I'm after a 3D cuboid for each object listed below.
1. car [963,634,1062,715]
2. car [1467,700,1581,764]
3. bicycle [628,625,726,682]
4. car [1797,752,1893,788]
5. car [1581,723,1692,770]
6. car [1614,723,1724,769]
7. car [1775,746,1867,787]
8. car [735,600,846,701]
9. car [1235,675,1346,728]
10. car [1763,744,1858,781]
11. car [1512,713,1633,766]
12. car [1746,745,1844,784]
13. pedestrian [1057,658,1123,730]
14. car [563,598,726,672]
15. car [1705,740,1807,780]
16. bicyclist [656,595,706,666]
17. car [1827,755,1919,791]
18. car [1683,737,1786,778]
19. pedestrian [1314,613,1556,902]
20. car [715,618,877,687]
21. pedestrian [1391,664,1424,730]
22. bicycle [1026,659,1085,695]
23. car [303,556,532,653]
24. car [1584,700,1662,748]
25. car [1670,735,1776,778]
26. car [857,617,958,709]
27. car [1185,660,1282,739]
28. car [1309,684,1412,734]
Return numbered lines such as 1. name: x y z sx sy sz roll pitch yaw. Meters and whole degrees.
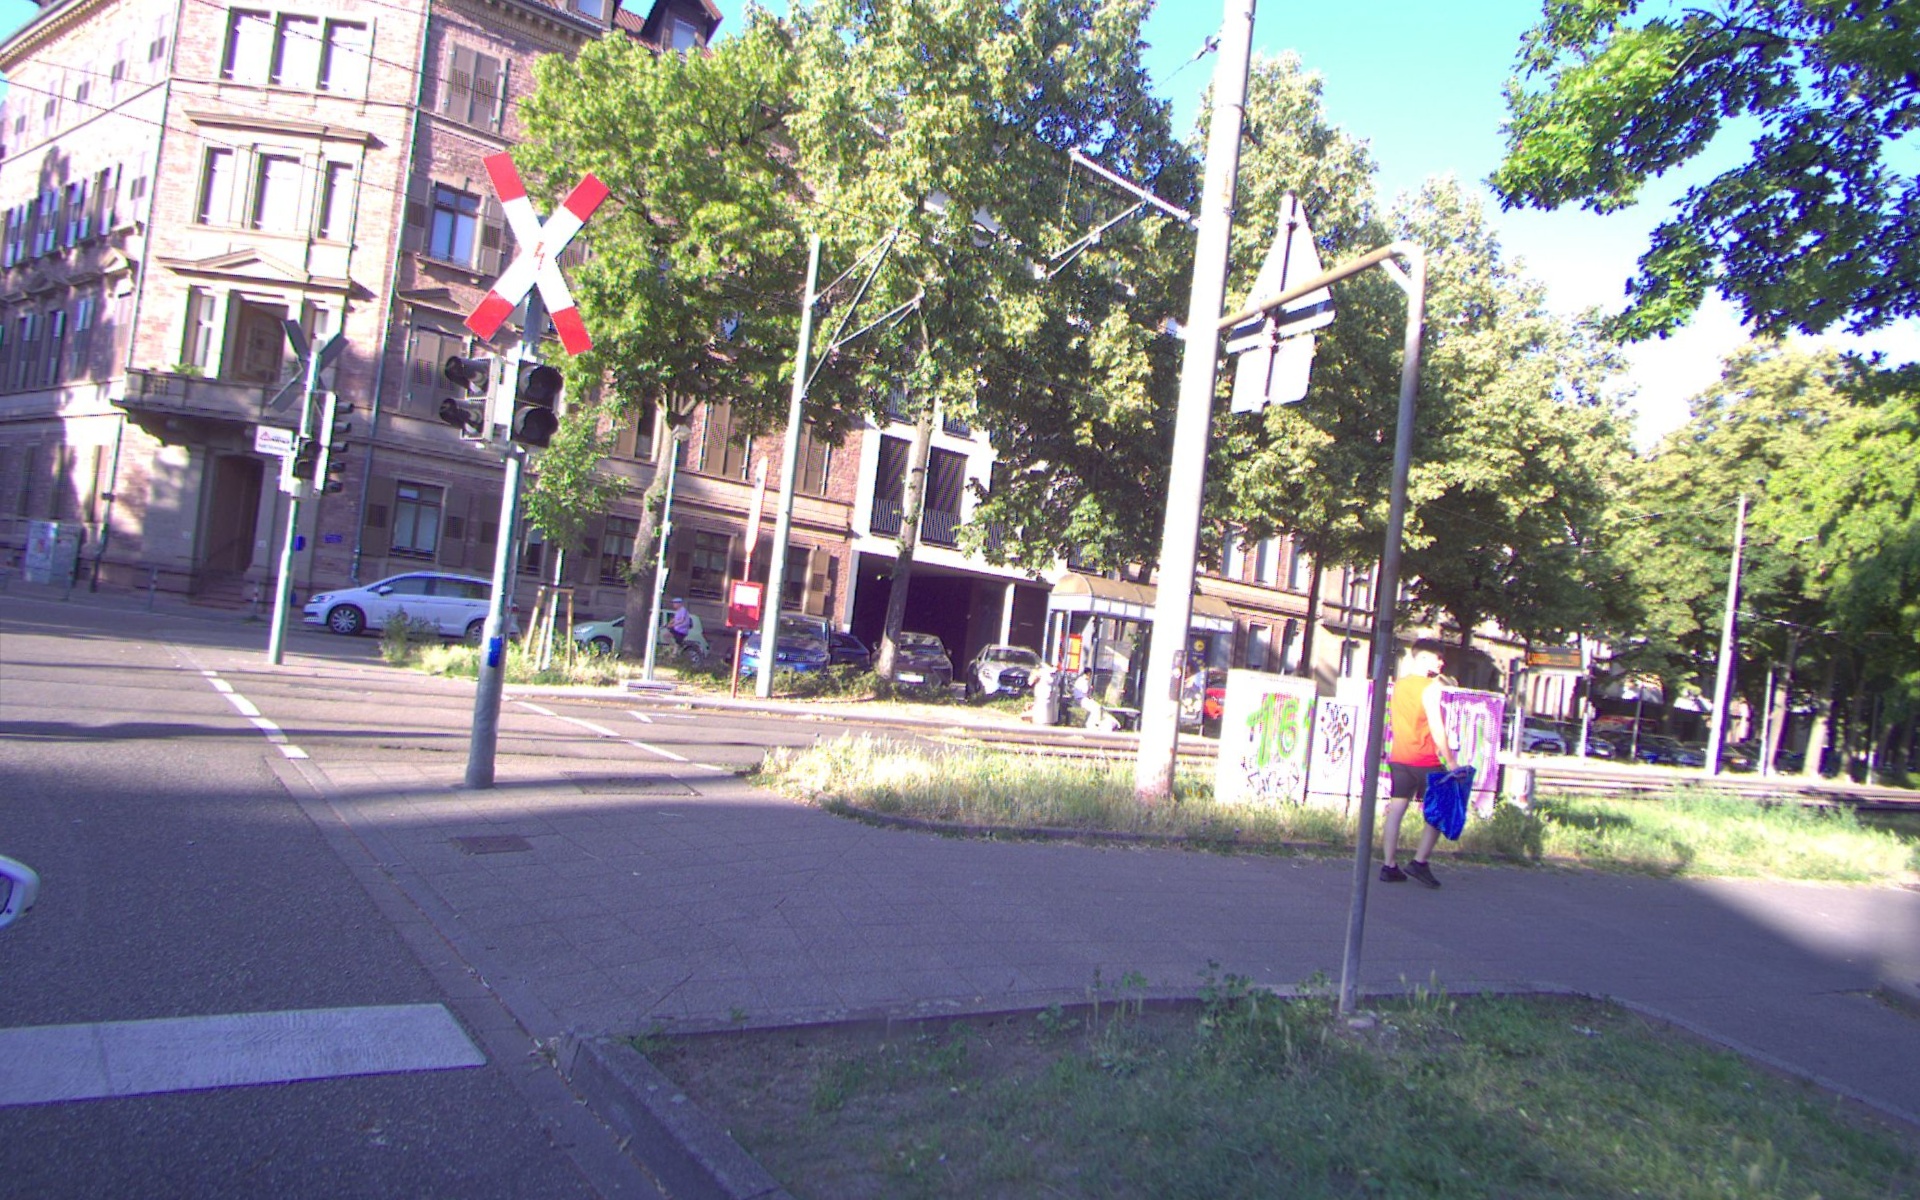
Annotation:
1. car: 1.155 1.710 24.316 1.894 1.504 4.554 7 -2 -1
2. car: 20.700 4.796 37.139 1.775 1.715 4.285 7 -2 2
3. bicycle: -6.819 1.283 24.256 2.098 1.066 0.697 9 -3 -24
4. car: 49.721 9.528 56.613 1.716 1.294 4.001 7 -2 -1
5. car: 27.948 6.038 41.721 1.716 1.294 4.001 7 -2 -1
6. car: 30.334 6.210 43.189 1.716 1.294 4.001 7 -2 -1
7. car: 53.584 10.334 62.705 1.721 1.787 3.989 7 -2 -15
8. car: -3.457 1.084 21.297 1.711 1.706 4.423 7 -3 -4
9. car: 13.184 4.059 40.106 4.205 1.586 1.981 8 -2 -35
10. car: 47.311 9.027 56.078 1.716 1.294 4.001 7 -2 -1
11. car: 23.093 5.235 38.141 1.776 1.294 4.283 7 -2 -1
12. car: 44.543 8.754 53.791 1.716 1.294 4.001 7 -2 -1
13. pedestrian: 2.592 1.861 20.057 0.867 1.287 0.818 7 -1 -30
14. car: -8.307 0.947 26.569 3.688 1.505 1.729 9 -5 -32
15. car: 39.714 7.962 50.304 1.716 1.294 4.001 7 -2 -1
16. bicyclist: -6.737 0.732 24.280 0.863 1.606 0.697 9 -2 -24
17. car: 51.849 9.780 57.017 1.716 1.294 4.001 7 -2 -1
18. car: 37.696 7.645 49.083 1.716 1.294 4.001 7 -2 -1
19. pedestrian: 3.547 1.158 7.569 1.134 1.942 0.900 7 1 -22
20. car: -4.648 1.503 28.690 4.120 1.505 1.731 8 -5 -30
21. pedestrian: 20.975 4.539 47.129 0.693 2.982 0.912 7 -1 -34
22. bicycle: 3.680 2.974 38.792 2.059 1.129 0.683 7 -1 -4
23. car: -12.706 0.176 23.761 4.451 1.667 1.862 8 -5 -31
24. car: 37.584 7.050 57.015 4.571 2.198 1.982 8 -2 -34
25. car: 35.447 7.250 46.896 1.716 1.294 4.001 7 -2 -1
26. car: -1.132 1.368 23.058 1.894 1.653 4.554 7 -2 -1
27. car: 7.617 2.724 28.460 1.893 1.742 4.558 7 -2 8
28. car: 17.068 4.652 42.835 4.205 1.586 1.981 8 -2 -35
